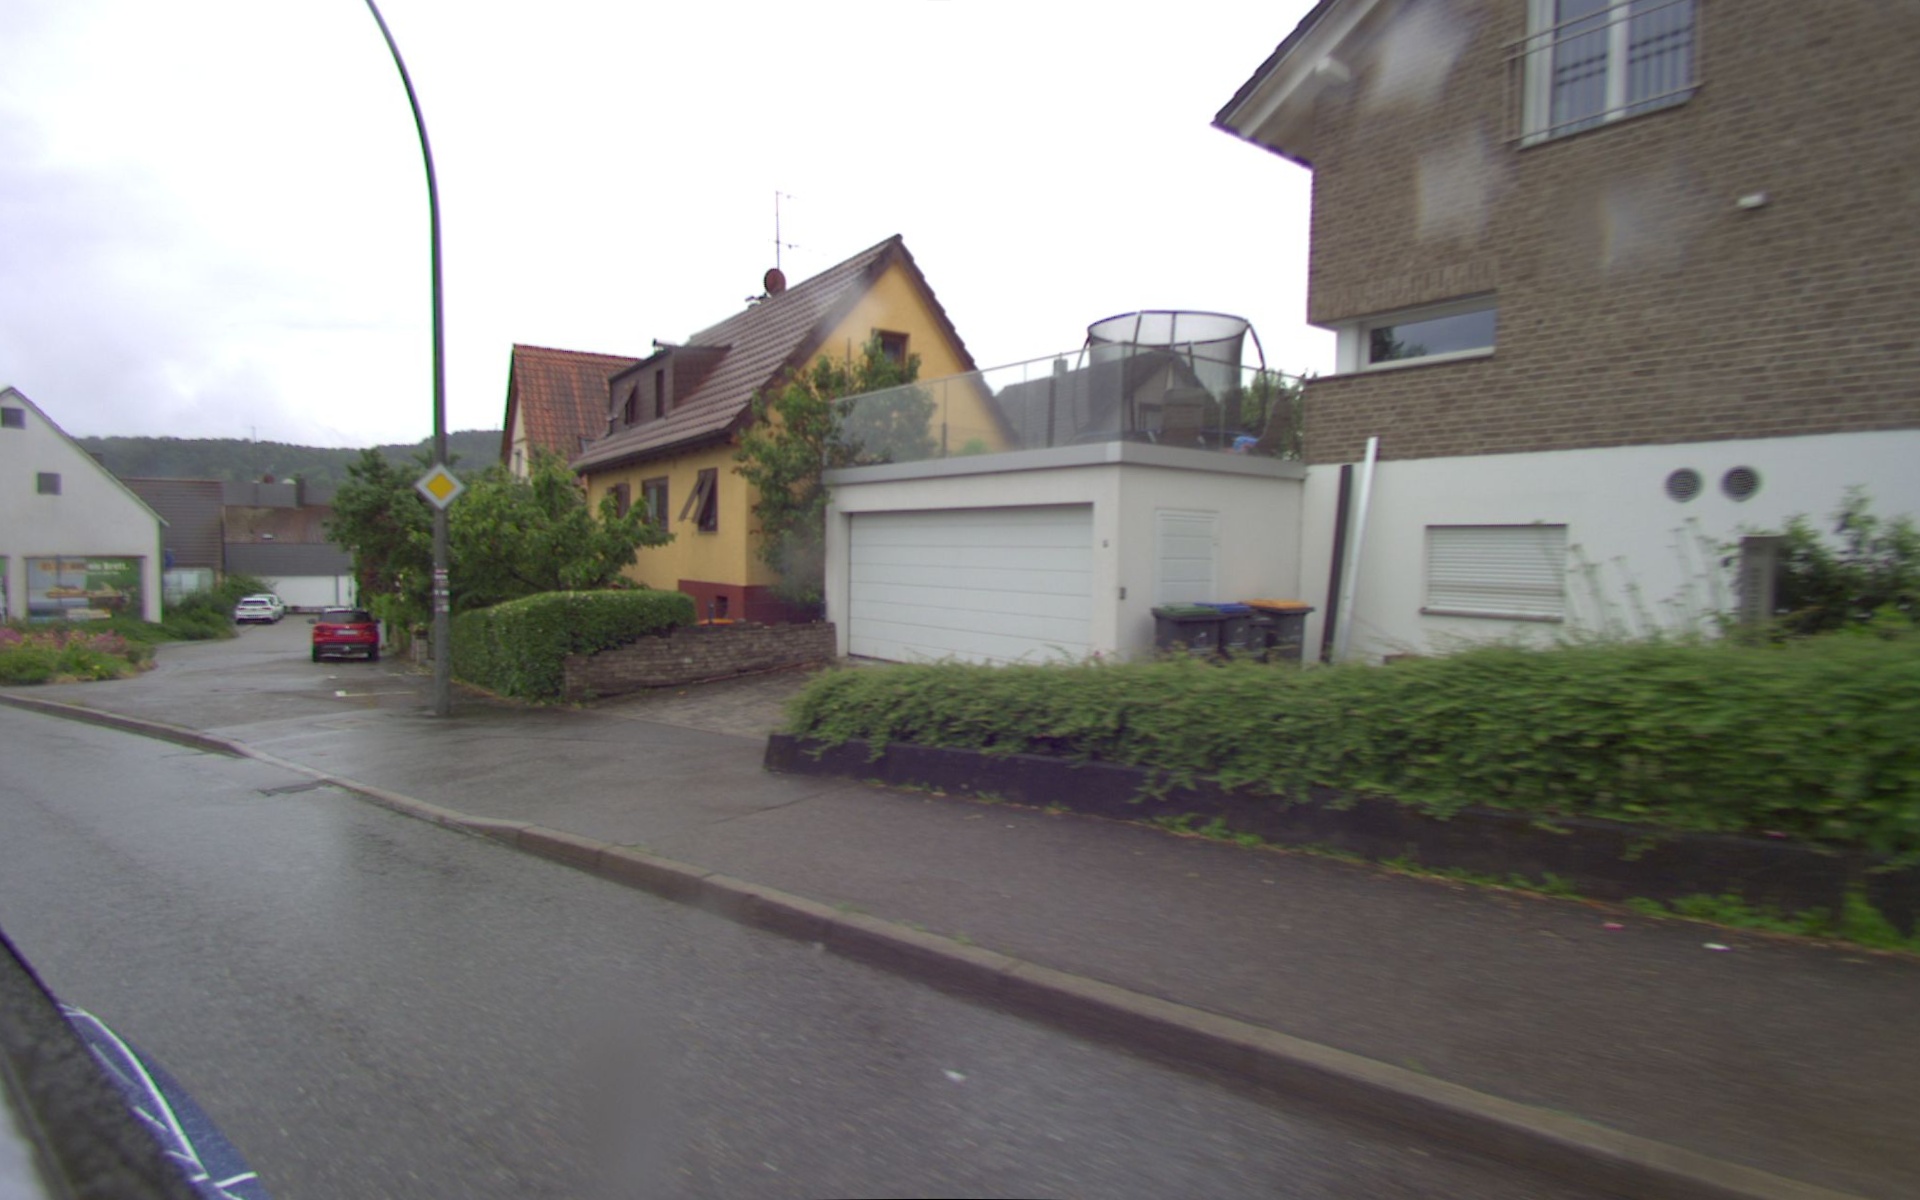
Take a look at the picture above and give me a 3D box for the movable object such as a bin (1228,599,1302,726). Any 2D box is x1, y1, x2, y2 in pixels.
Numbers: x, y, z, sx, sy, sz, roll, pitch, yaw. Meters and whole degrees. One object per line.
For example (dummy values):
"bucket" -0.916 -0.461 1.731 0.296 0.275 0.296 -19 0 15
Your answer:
"movable object such as a bin" 3.284 0.656 10.907 0.490 1.312 0.557 -1 0 -37

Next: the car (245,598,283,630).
"car" -42.271 0.853 61.499 1.729 1.903 3.751 -1 0 -32

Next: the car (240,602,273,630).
"car" -39.248 0.881 56.485 1.394 1.439 3.502 -1 1 -33

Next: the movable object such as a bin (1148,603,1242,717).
"movable object such as a bin" 2.360 0.582 10.183 0.552 1.082 0.714 0 -1 -37

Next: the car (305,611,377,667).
"car" -19.200 1.151 31.306 1.725 1.574 4.029 -1 0 -34

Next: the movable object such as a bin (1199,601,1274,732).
"movable object such as a bin" 2.886 0.674 10.584 0.490 1.312 0.557 -1 0 -37
